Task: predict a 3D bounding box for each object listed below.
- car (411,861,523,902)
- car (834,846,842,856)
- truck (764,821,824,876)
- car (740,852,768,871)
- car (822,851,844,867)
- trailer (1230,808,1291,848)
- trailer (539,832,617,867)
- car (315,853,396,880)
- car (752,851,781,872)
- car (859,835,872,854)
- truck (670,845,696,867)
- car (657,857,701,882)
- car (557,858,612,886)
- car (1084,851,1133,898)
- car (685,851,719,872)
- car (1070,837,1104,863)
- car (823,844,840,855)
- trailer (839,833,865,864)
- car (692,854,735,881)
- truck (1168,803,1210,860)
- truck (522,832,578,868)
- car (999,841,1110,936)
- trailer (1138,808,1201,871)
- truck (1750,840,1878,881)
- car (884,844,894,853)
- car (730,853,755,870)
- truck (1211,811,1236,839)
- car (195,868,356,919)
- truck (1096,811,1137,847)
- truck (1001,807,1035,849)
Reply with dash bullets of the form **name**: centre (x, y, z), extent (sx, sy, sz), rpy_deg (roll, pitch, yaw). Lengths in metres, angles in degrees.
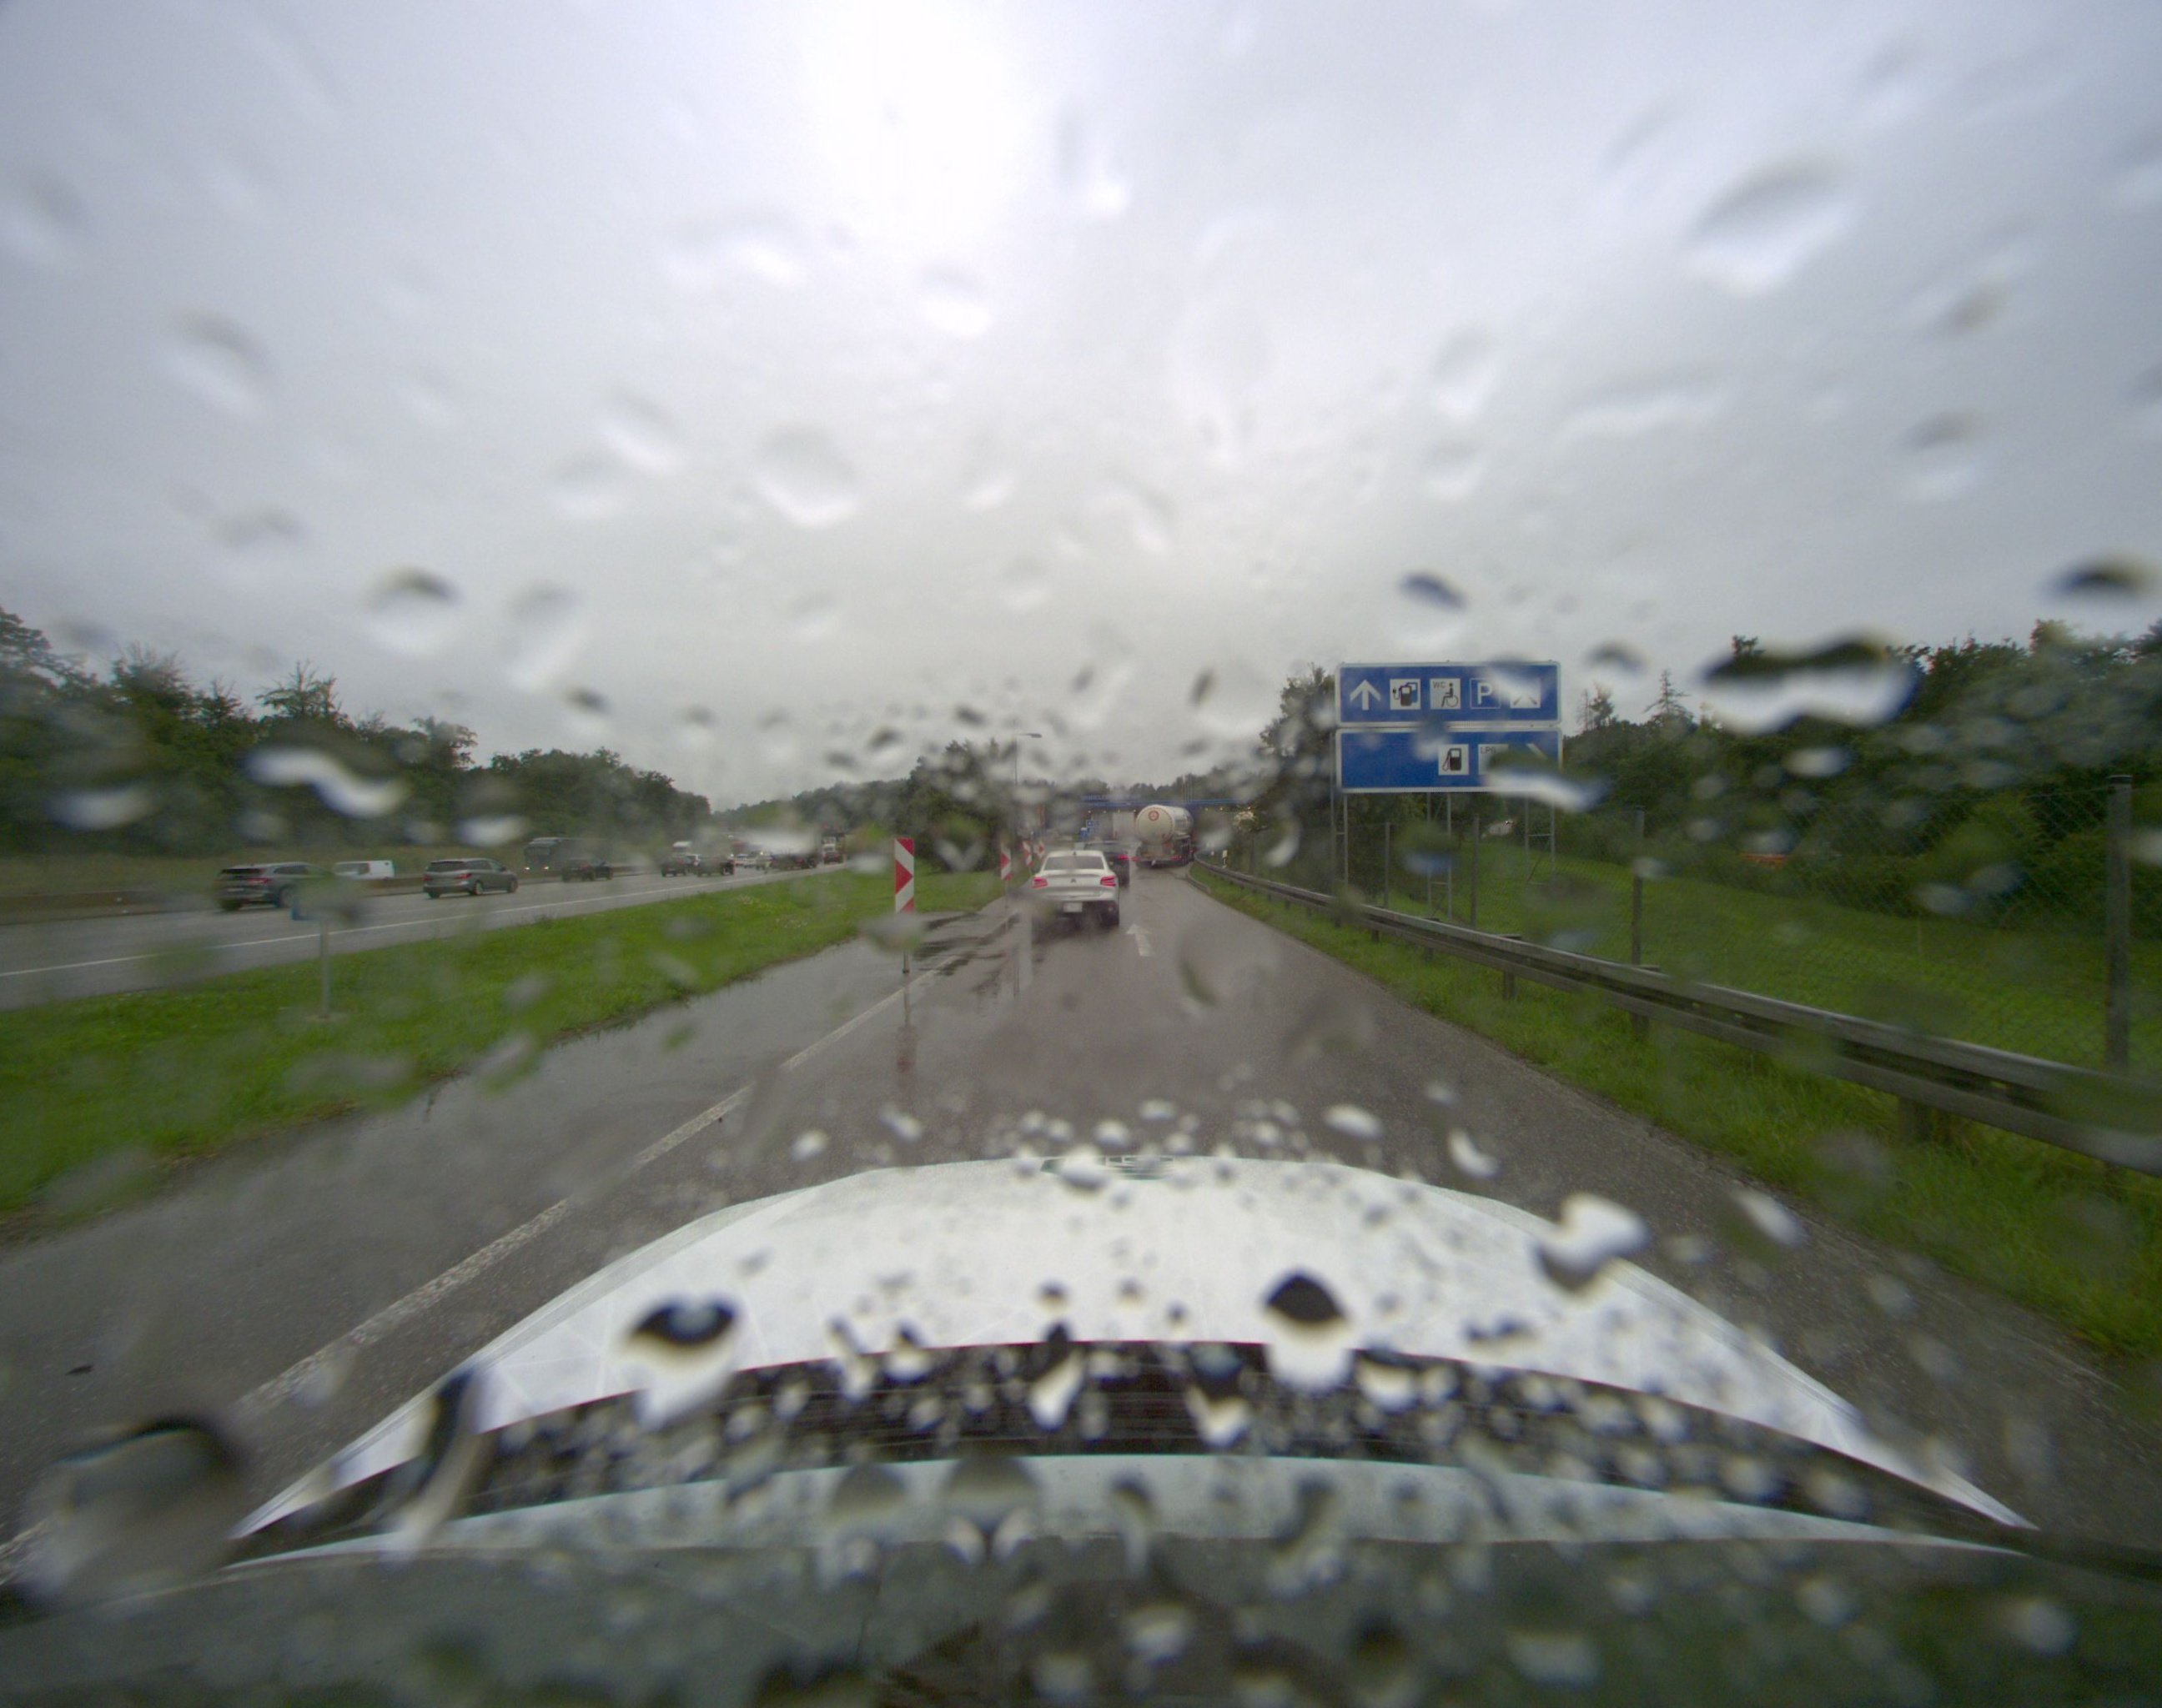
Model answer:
- **car**: centre (-26.067, 1.127, 34.794), extent (1.786, 1.526, 4.325), rpy_deg (-2, 0, -6)
- **car**: centre (-56.405, -0.718, 189.024), extent (1.677, 2.014, 3.977), rpy_deg (5, -2, -16)
- **truck**: centre (-25.141, -0.427, 72.064), extent (2.850, 4.292, 11.802), rpy_deg (-4, 0, -10)
- **car**: centre (-36.038, 0.794, 89.847), extent (1.994, 2.013, 3.986), rpy_deg (0, 0, -10)
- **car**: centre (-29.070, 0.625, 95.478), extent (1.994, 1.816, 3.986), rpy_deg (1, 0, -10)
- **trailer**: centre (16.626, -2.409, 74.814), extent (2.110, 3.440, 10.319), rpy_deg (-1, 2, 31)
- **trailer**: centre (-58.656, -0.528, 95.437), extent (3.028, 3.811, 13.363), rpy_deg (0, 1, -10)
- **car**: centre (-53.345, 0.888, 59.997), extent (1.992, 1.835, 4.912), rpy_deg (1, 0, -8)
- **car**: centre (-30.024, 0.700, 77.762), extent (1.789, 1.971, 4.319), rpy_deg (-1, 0, -11)
- **car**: centre (-42.448, -1.813, 160.208), extent (2.376, 3.485, 4.791), rpy_deg (2, 0, -15)
- **truck**: centre (-69.732, 0.267, 142.675), extent (2.714, 3.533, 4.747), rpy_deg (3, 1, -10)
- **car**: centre (-30.539, 1.144, 61.945), extent (1.775, 1.736, 4.087), rpy_deg (-3, 1, -9)
- **car**: centre (-33.880, 1.188, 55.693), extent (1.775, 1.736, 4.087), rpy_deg (-2, 0, -9)
- **car**: centre (1.079, 0.740, 31.294), extent (1.735, 1.667, 4.003), rpy_deg (1, 0, 3)
- **car**: centre (-37.709, 0.734, 81.080), extent (1.994, 2.013, 3.987), rpy_deg (-2, 0, -10)
- **car**: centre (0.308, -0.253, 47.738), extent (1.873, 1.461, 3.998), rpy_deg (0, 1, -1)
- **car**: centre (-42.411, -0.822, 138.484), extent (1.992, 1.816, 3.989), rpy_deg (2, 0, -8)
- **trailer**: centre (-36.534, -0.776, 130.307), extent (3.554, 4.612, 12.059), rpy_deg (-2, 0, -15)
- **car**: centre (-25.736, 0.910, 57.169), extent (1.775, 1.736, 3.835), rpy_deg (-2, 0, -9)
- **truck**: centre (7.119, -1.483, 53.459), extent (2.037, 3.530, 4.766), rpy_deg (-1, 1, 15)
- **truck**: centre (-57.413, -0.434, 88.245), extent (3.042, 3.746, 5.626), rpy_deg (0, 1, -10)
- **car**: centre (-0.444, 0.633, 17.099), extent (1.986, 1.679, 4.001), rpy_deg (-2, 0, 1)
- **trailer**: centre (5.262, -0.891, 46.657), extent (1.966, 3.224, 10.364), rpy_deg (-1, 2, 15)
- **truck**: centre (55.166, 0.410, 61.647), extent (2.811, 2.661, 8.282), rpy_deg (5, 2, 7)
- **car**: centre (-46.754, -1.340, 198.331), extent (1.998, 2.014, 3.978), rpy_deg (2, 0, -16)
- **car**: centre (-41.861, 0.946, 100.878), extent (1.994, 2.013, 3.986), rpy_deg (-2, 0, -10)
- **truck**: centre (19.580, -4.015, 112.020), extent (2.420, 3.805, 3.996), rpy_deg (-2, 2, -4)
- **car**: centre (-29.067, 1.363, 29.615), extent (1.716, 1.574, 4.449), rpy_deg (-2, 0, -6)
- **truck**: centre (4.010, -2.927, 95.257), extent (2.369, 3.873, 12.421), rpy_deg (-2, 2, -8)
- **truck**: centre (-6.279, -2.568, 80.280), extent (2.913, 3.903, 6.300), rpy_deg (-2, 2, -8)
